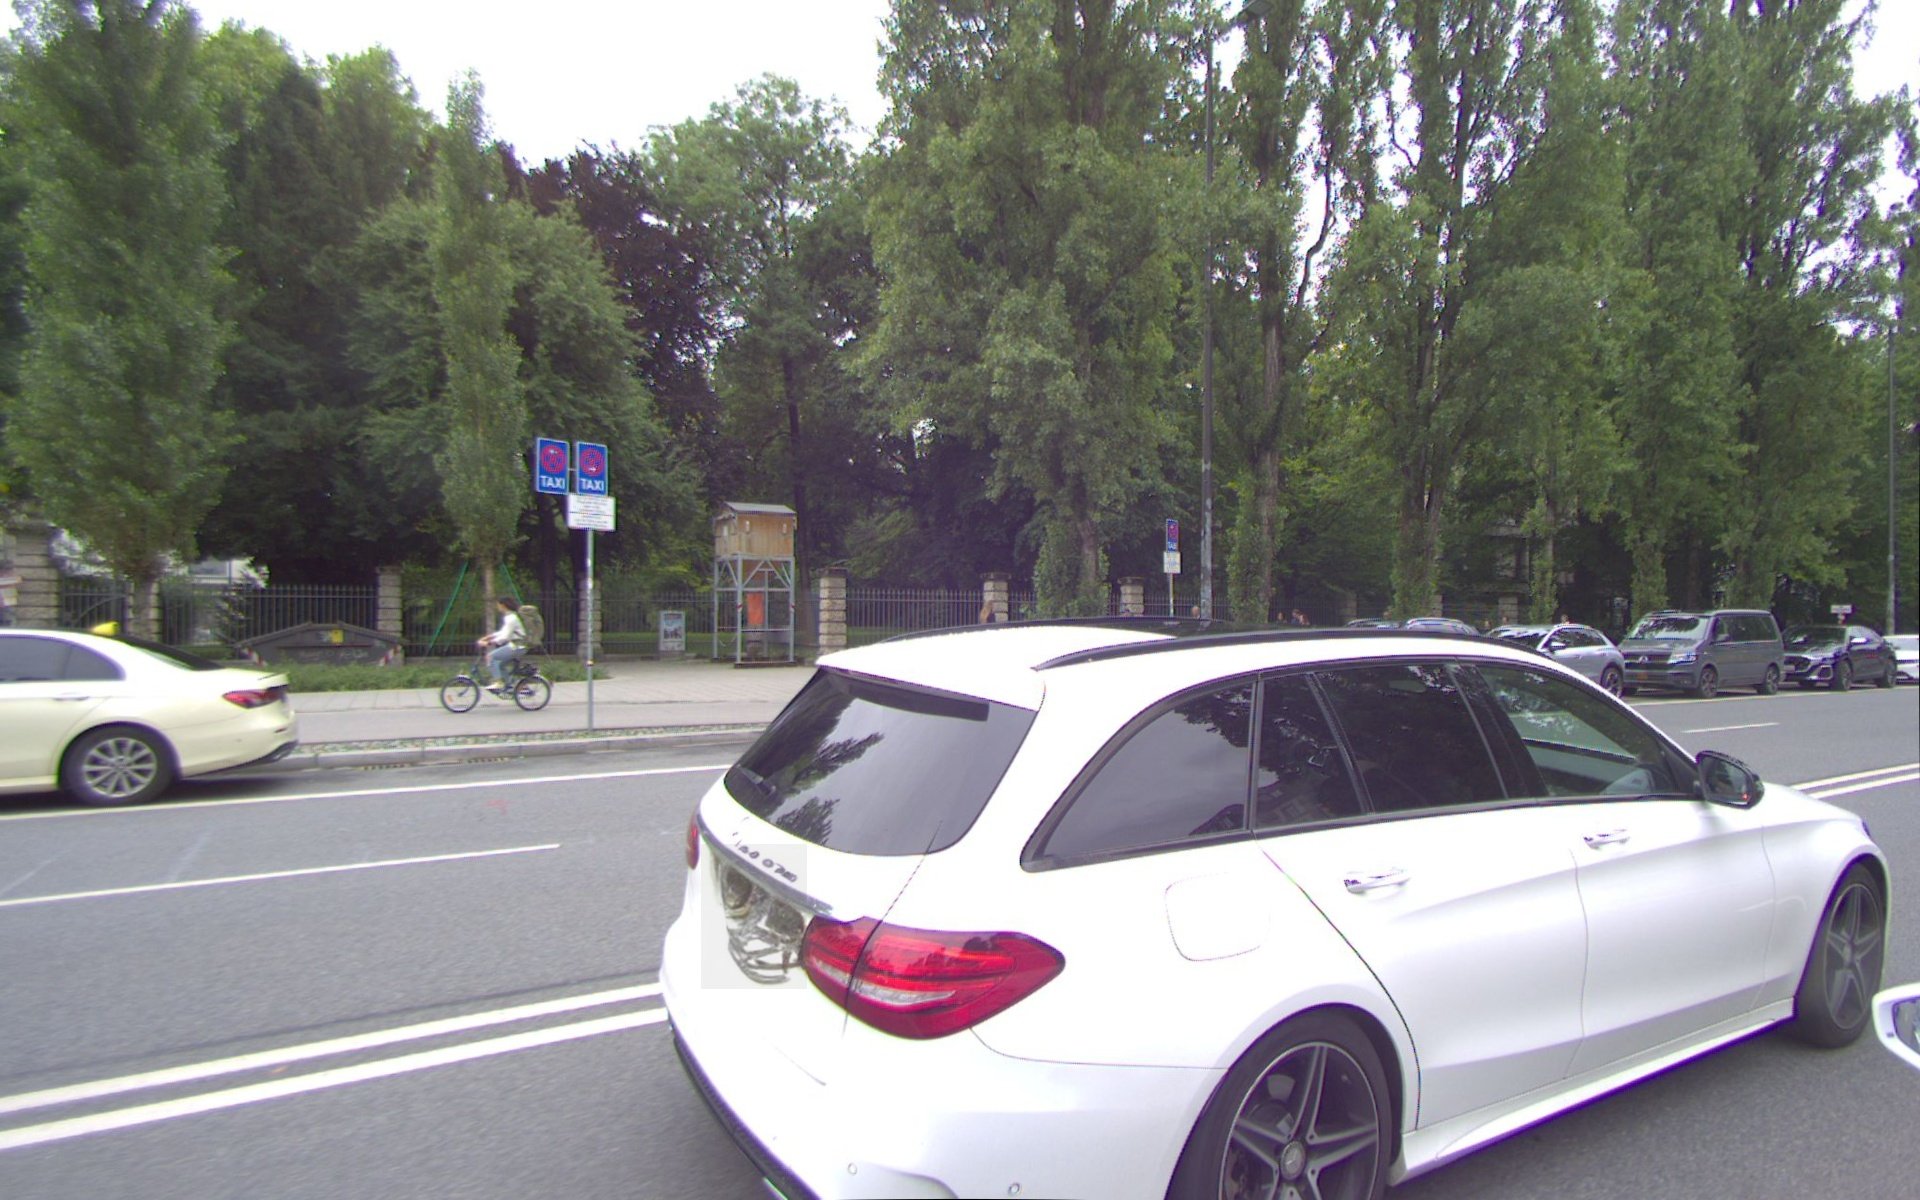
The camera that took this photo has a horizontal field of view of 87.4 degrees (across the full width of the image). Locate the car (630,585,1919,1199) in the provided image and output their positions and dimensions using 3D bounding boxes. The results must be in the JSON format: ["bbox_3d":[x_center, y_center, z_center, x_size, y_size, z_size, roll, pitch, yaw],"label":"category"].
[{"bbox_3d":[1.388,0.758,3.470,4.528,1.474,1.817,2,0,-30],"label":"car"}]

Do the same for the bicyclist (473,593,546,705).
[{"bbox_3d":[-6.373,0.677,14.196,0.852,1.518,0.690,1,-1,-31],"label":"bicyclist"}]

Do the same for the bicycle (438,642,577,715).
[{"bbox_3d":[-6.381,1.079,14.189,1.715,0.951,0.704,1,0,-32],"label":"bicycle"}]

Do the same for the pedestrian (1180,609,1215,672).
[{"bbox_3d":[6.465,1.084,27.364,0.696,1.682,0.615,1,0,-29],"label":"pedestrian"}]

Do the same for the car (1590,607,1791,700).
[{"bbox_3d":[17.044,1.208,23.386,4.879,1.982,1.984,1,-2,-31],"label":"car"}]

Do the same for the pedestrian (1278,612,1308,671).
[{"bbox_3d":[9.906,1.231,29.879,0.714,1.730,0.506,1,0,-29],"label":"pedestrian"}]

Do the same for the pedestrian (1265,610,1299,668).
[{"bbox_3d":[9.787,1.178,30.500,0.724,1.745,0.664,1,-1,-29],"label":"pedestrian"}]

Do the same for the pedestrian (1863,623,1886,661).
[{"bbox_3d":[44.744,2.050,49.158,0.766,1.839,0.637,1,-1,-30],"label":"pedestrian"}]

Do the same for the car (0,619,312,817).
[{"bbox_3d":[-8.259,0.919,8.311,4.732,1.517,1.922,0,-1,-30],"label":"car"}]

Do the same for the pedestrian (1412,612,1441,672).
[{"bbox_3d":[14.841,1.330,31.945,0.714,1.884,0.506,1,0,-29],"label":"pedestrian"}]

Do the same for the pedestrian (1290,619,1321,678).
[{"bbox_3d":[10.097,1.419,29.372,0.665,1.691,0.547,1,0,-29],"label":"pedestrian"}]

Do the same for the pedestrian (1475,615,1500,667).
[{"bbox_3d":[17.900,1.373,34.068,0.562,1.730,0.506,1,0,-29],"label":"pedestrian"}]

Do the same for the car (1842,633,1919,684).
[{"bbox_3d":[28.357,1.724,30.093,4.188,1.441,1.668,2,-3,-31],"label":"car"}]

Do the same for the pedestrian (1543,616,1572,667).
[{"bbox_3d":[20.915,1.441,35.166,0.748,1.780,0.605,1,-1,-31],"label":"pedestrian"}]

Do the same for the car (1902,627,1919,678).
[{"bbox_3d":[32.722,1.686,32.693,4.407,1.609,1.778,1,-3,-30],"label":"car"}]

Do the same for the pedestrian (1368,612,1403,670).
[{"bbox_3d":[13.995,1.349,33.055,0.748,1.879,0.743,1,0,-29],"label":"pedestrian"}]

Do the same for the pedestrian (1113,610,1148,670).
[{"bbox_3d":[4.647,1.081,27.324,0.696,1.617,0.616,1,0,-29],"label":"pedestrian"}]

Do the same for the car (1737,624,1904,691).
[{"bbox_3d":[22.758,1.507,26.514,4.994,1.630,1.807,1,-3,-31],"label":"car"}]

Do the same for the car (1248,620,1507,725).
[{"bbox_3d":[7.283,1.194,17.421,4.560,1.617,1.774,1,-3,-31],"label":"car"}]

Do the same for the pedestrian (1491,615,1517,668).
[{"bbox_3d":[18.165,1.371,33.546,0.562,1.730,0.506,1,0,-29],"label":"pedestrian"}]

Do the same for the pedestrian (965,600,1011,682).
[{"bbox_3d":[0.611,0.883,21.815,0.778,1.743,0.579,1,0,-31],"label":"pedestrian"}]

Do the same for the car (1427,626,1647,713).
[{"bbox_3d":[11.798,1.348,20.466,4.600,1.605,1.881,1,-2,-31],"label":"car"}]
